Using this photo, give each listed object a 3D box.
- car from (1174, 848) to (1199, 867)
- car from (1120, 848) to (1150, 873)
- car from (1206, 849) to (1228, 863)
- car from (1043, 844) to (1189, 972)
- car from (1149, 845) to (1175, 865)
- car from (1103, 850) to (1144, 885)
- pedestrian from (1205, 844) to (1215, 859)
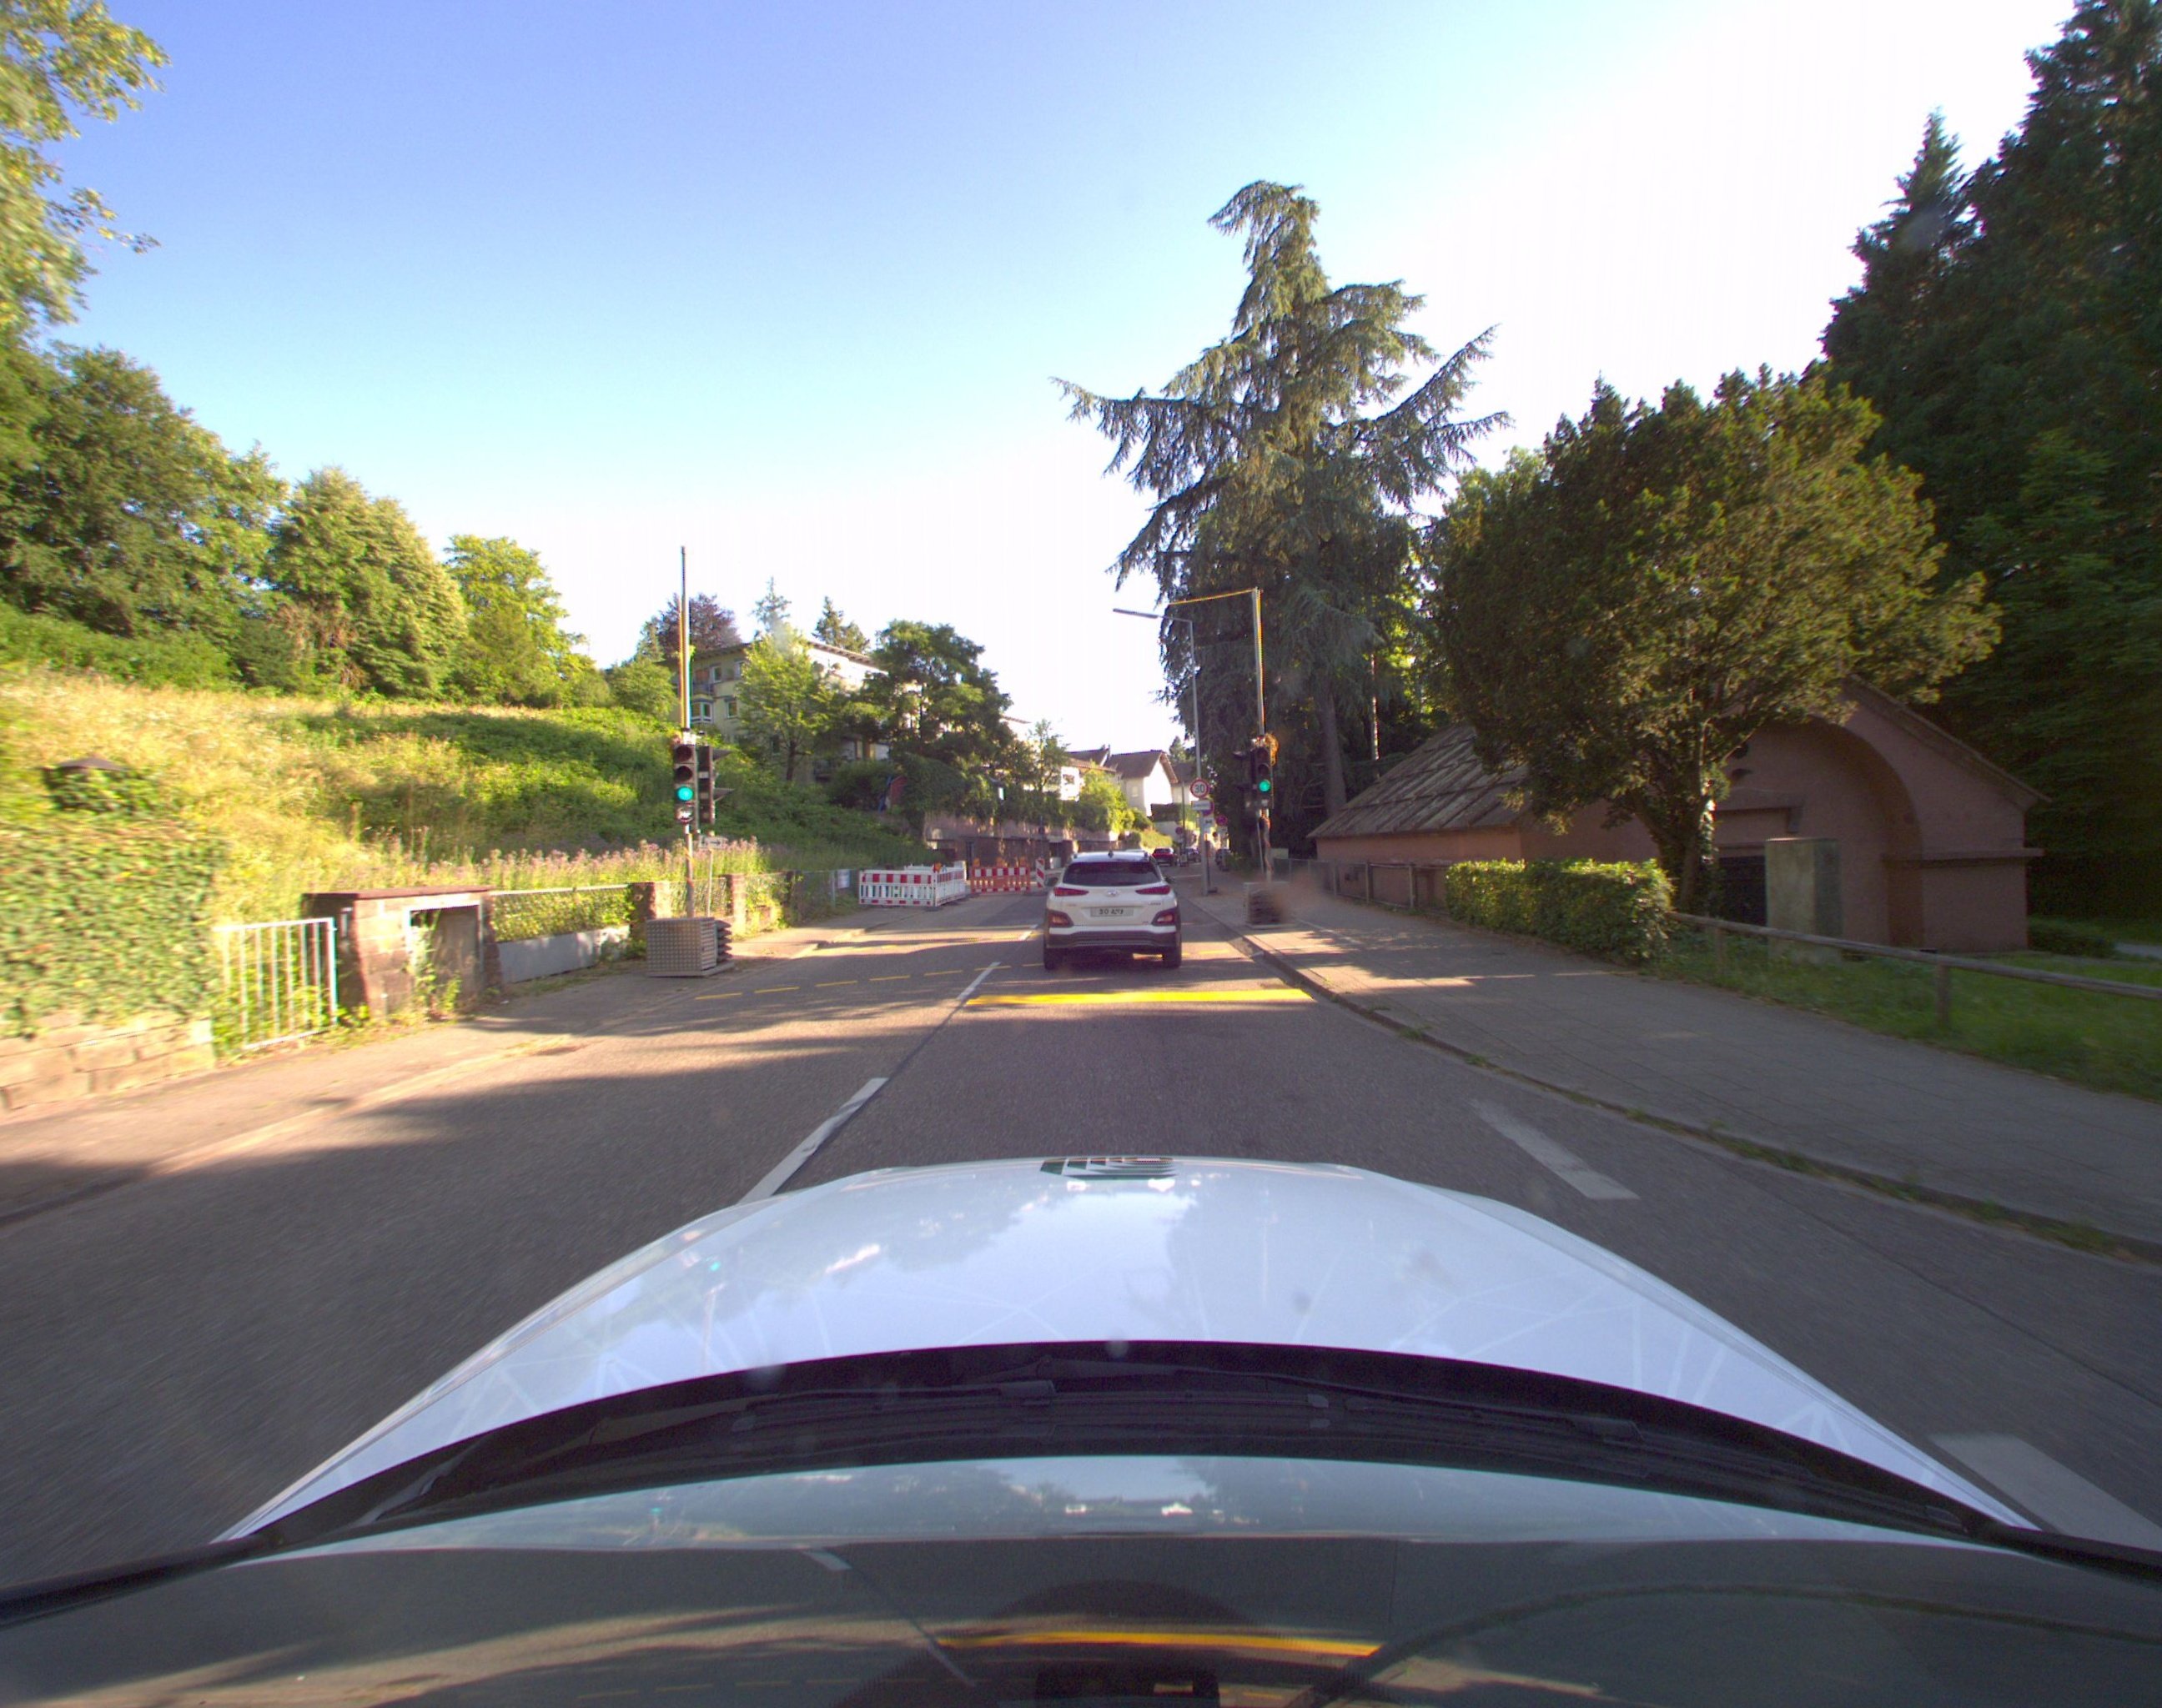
[{"bbox_3d":[10.812,0.326,83.095,1.817,1.740,4.018,-2,0,16],"label":"car"},{"bbox_3d":[3.416,0.370,51.960,1.798,1.537,4.003,0,0,2],"label":"car"},{"bbox_3d":[16.642,0.274,99.418,1.816,1.662,4.021,0,0,21],"label":"car"},{"bbox_3d":[0.368,0.654,12.149,1.816,1.574,3.997,0,0,-2],"label":"car"},{"bbox_3d":[6.944,0.061,69.536,1.820,1.662,4.011,0,0,10],"label":"car"},{"bbox_3d":[1.816,0.558,35.880,1.701,1.434,4.367,0,0,2],"label":"car"},{"bbox_3d":[16.588,-0.267,104.861,1.071,1.912,0.844,-1,0,18],"label":"pedestrian"}]
